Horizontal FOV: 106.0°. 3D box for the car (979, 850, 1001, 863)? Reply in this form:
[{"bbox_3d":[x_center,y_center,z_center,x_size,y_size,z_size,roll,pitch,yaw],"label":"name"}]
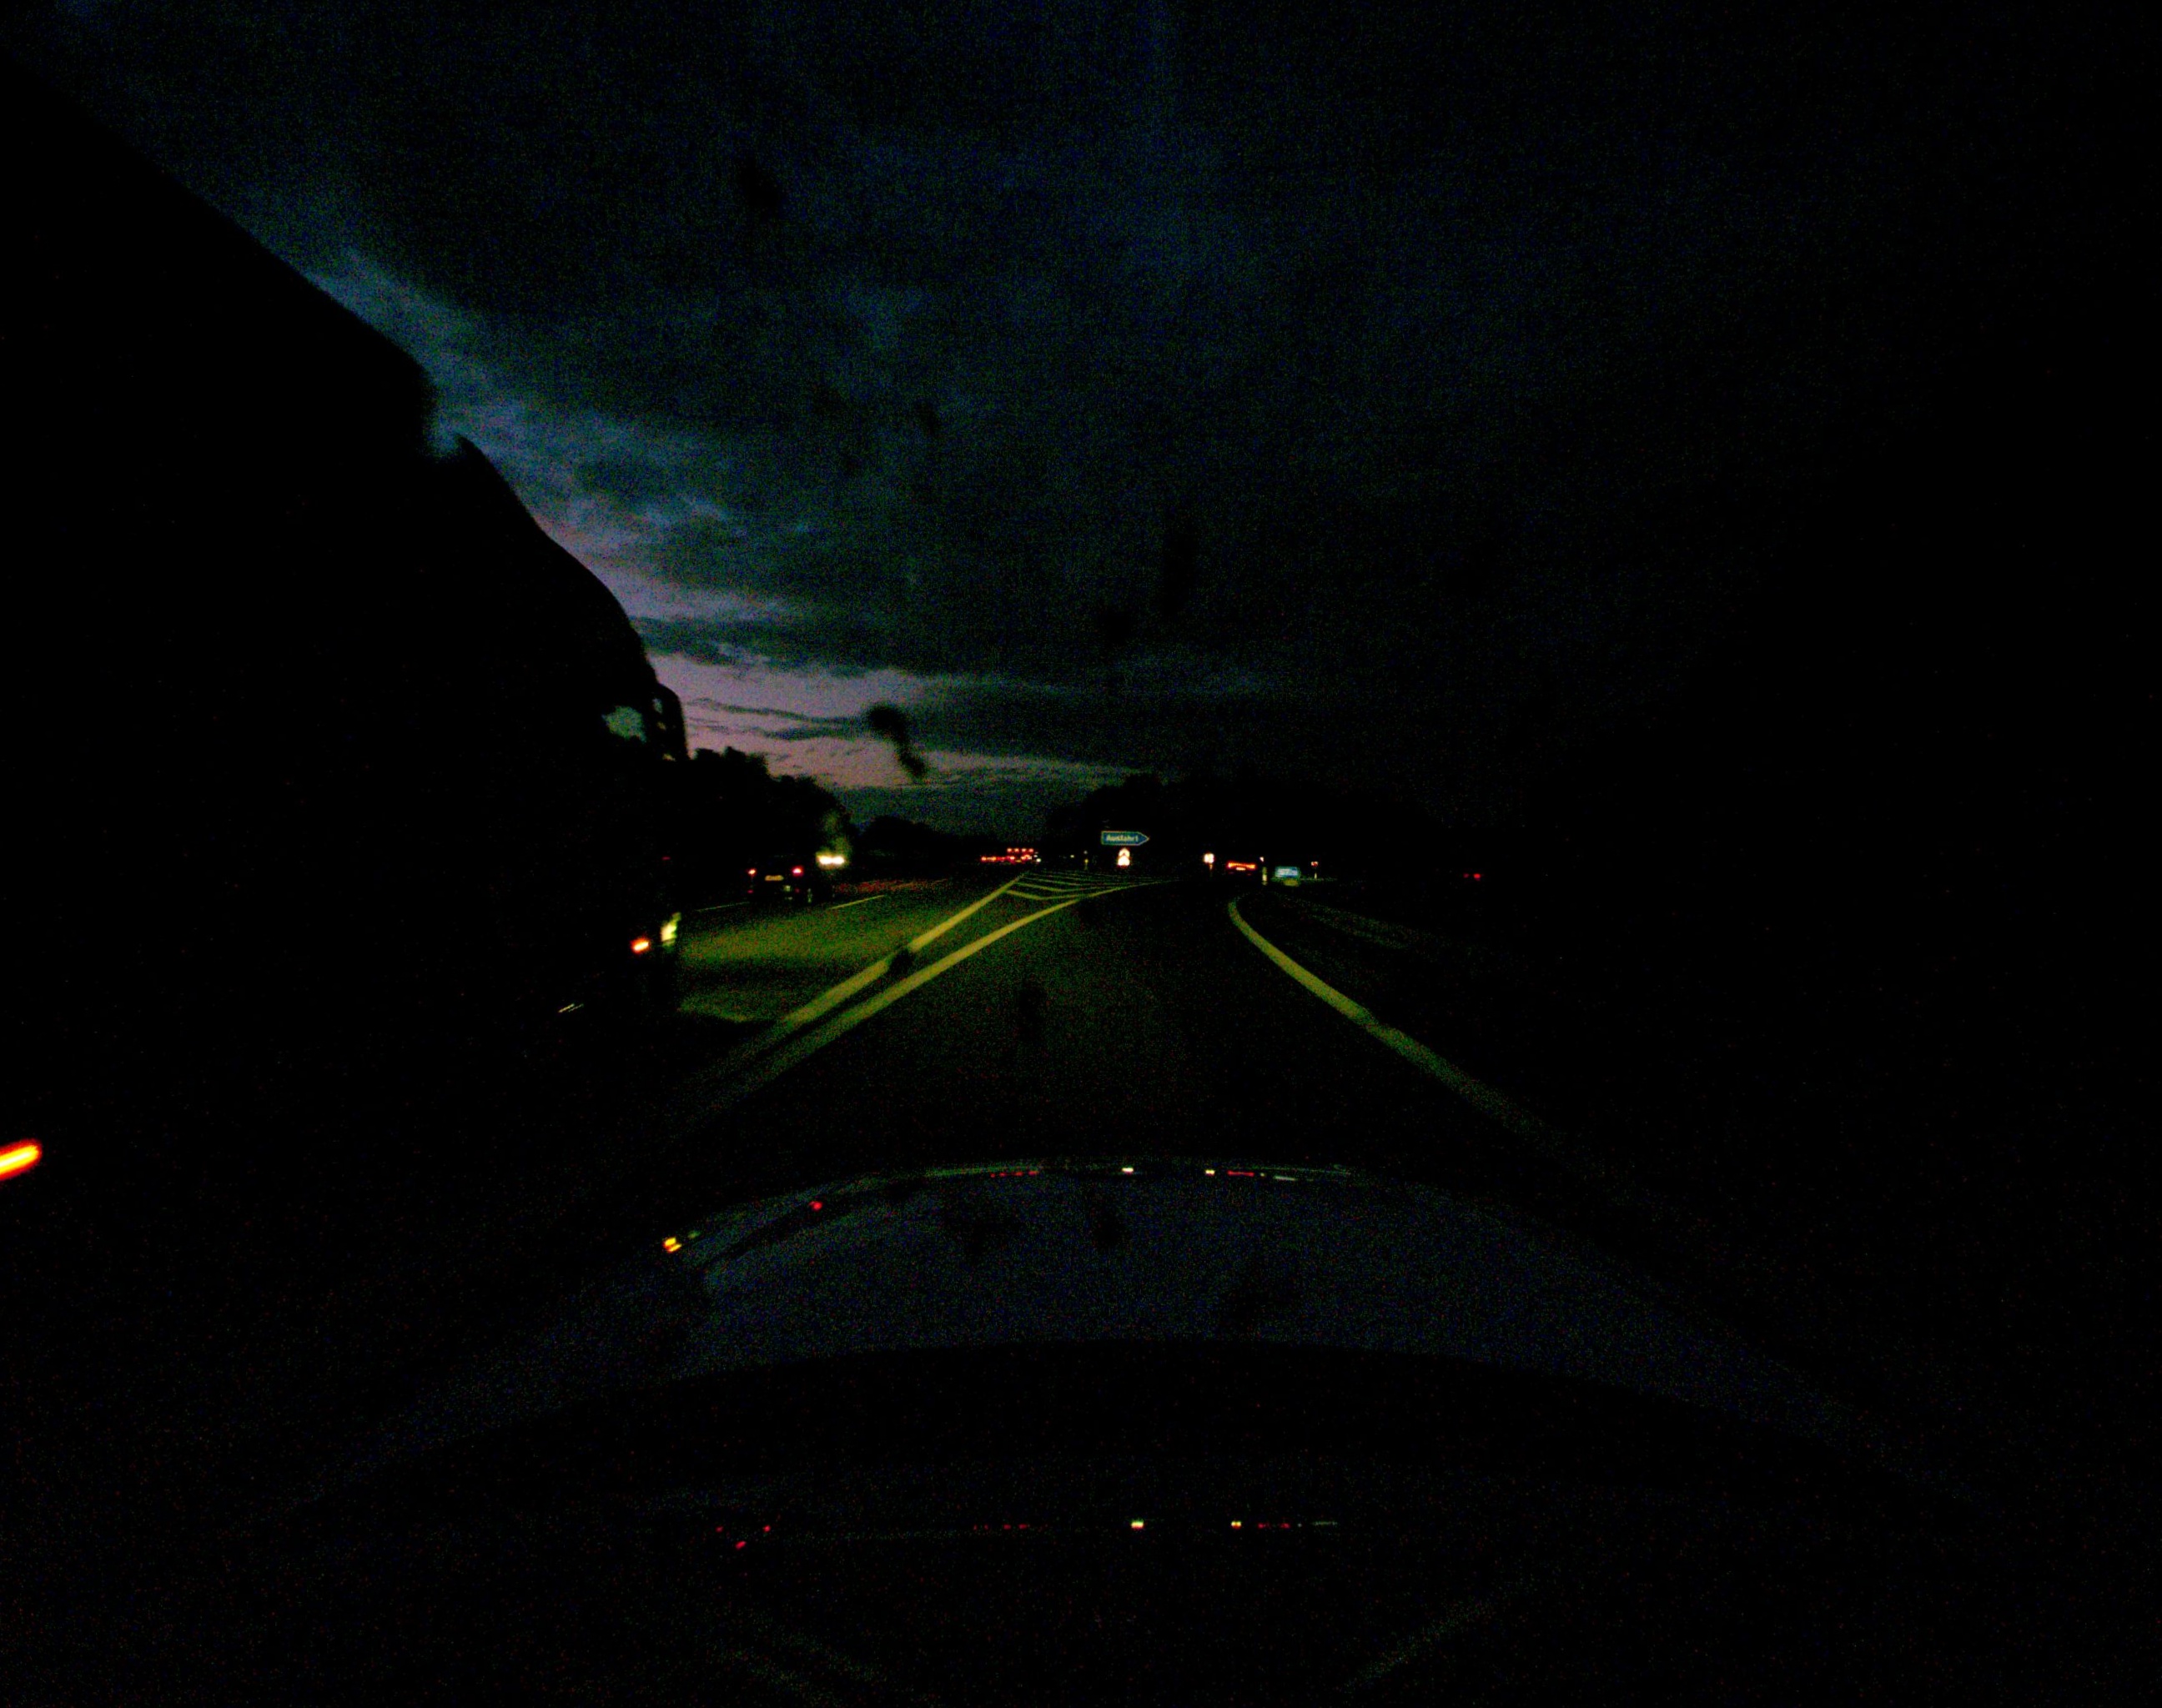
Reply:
[{"bbox_3d":[-11.916,0.350,106.925,1.985,1.642,4.560,-1,1,4],"label":"car"}]

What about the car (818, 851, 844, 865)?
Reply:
[{"bbox_3d":[-29.521,0.428,96.214,1.989,1.511,3.995,3,0,-4],"label":"car"}]

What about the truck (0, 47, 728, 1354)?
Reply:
[{"bbox_3d":[-4.669,-0.476,4.564,2.772,3.901,6.150,-1,0,-2],"label":"truck"}]

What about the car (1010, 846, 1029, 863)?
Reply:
[{"bbox_3d":[-7.323,0.002,97.221,1.987,2.013,4.000,0,0,0],"label":"car"}]

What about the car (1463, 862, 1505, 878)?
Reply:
[{"bbox_3d":[43.004,1.719,86.894,4.008,1.598,1.983,1,1,-27],"label":"car"}]

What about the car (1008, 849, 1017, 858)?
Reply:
[{"bbox_3d":[-15.775,-0.161,187.949,2.067,2.013,3.996,-1,1,-3],"label":"car"}]

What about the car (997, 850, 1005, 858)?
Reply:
[{"bbox_3d":[-21.701,0.013,220.794,2.101,2.013,3.994,-2,1,-4],"label":"car"}]

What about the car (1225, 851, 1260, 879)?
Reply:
[{"bbox_3d":[10.197,0.663,51.222,1.980,1.659,4.330,0,0,13],"label":"car"}]

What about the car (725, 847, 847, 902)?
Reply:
[{"bbox_3d":[-8.689,0.541,24.485,1.987,1.498,4.548,0,1,0],"label":"car"}]

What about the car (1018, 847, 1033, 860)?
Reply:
[{"bbox_3d":[-8.985,-0.055,132.524,1.986,2.013,4.001,-1,1,1],"label":"car"}]
